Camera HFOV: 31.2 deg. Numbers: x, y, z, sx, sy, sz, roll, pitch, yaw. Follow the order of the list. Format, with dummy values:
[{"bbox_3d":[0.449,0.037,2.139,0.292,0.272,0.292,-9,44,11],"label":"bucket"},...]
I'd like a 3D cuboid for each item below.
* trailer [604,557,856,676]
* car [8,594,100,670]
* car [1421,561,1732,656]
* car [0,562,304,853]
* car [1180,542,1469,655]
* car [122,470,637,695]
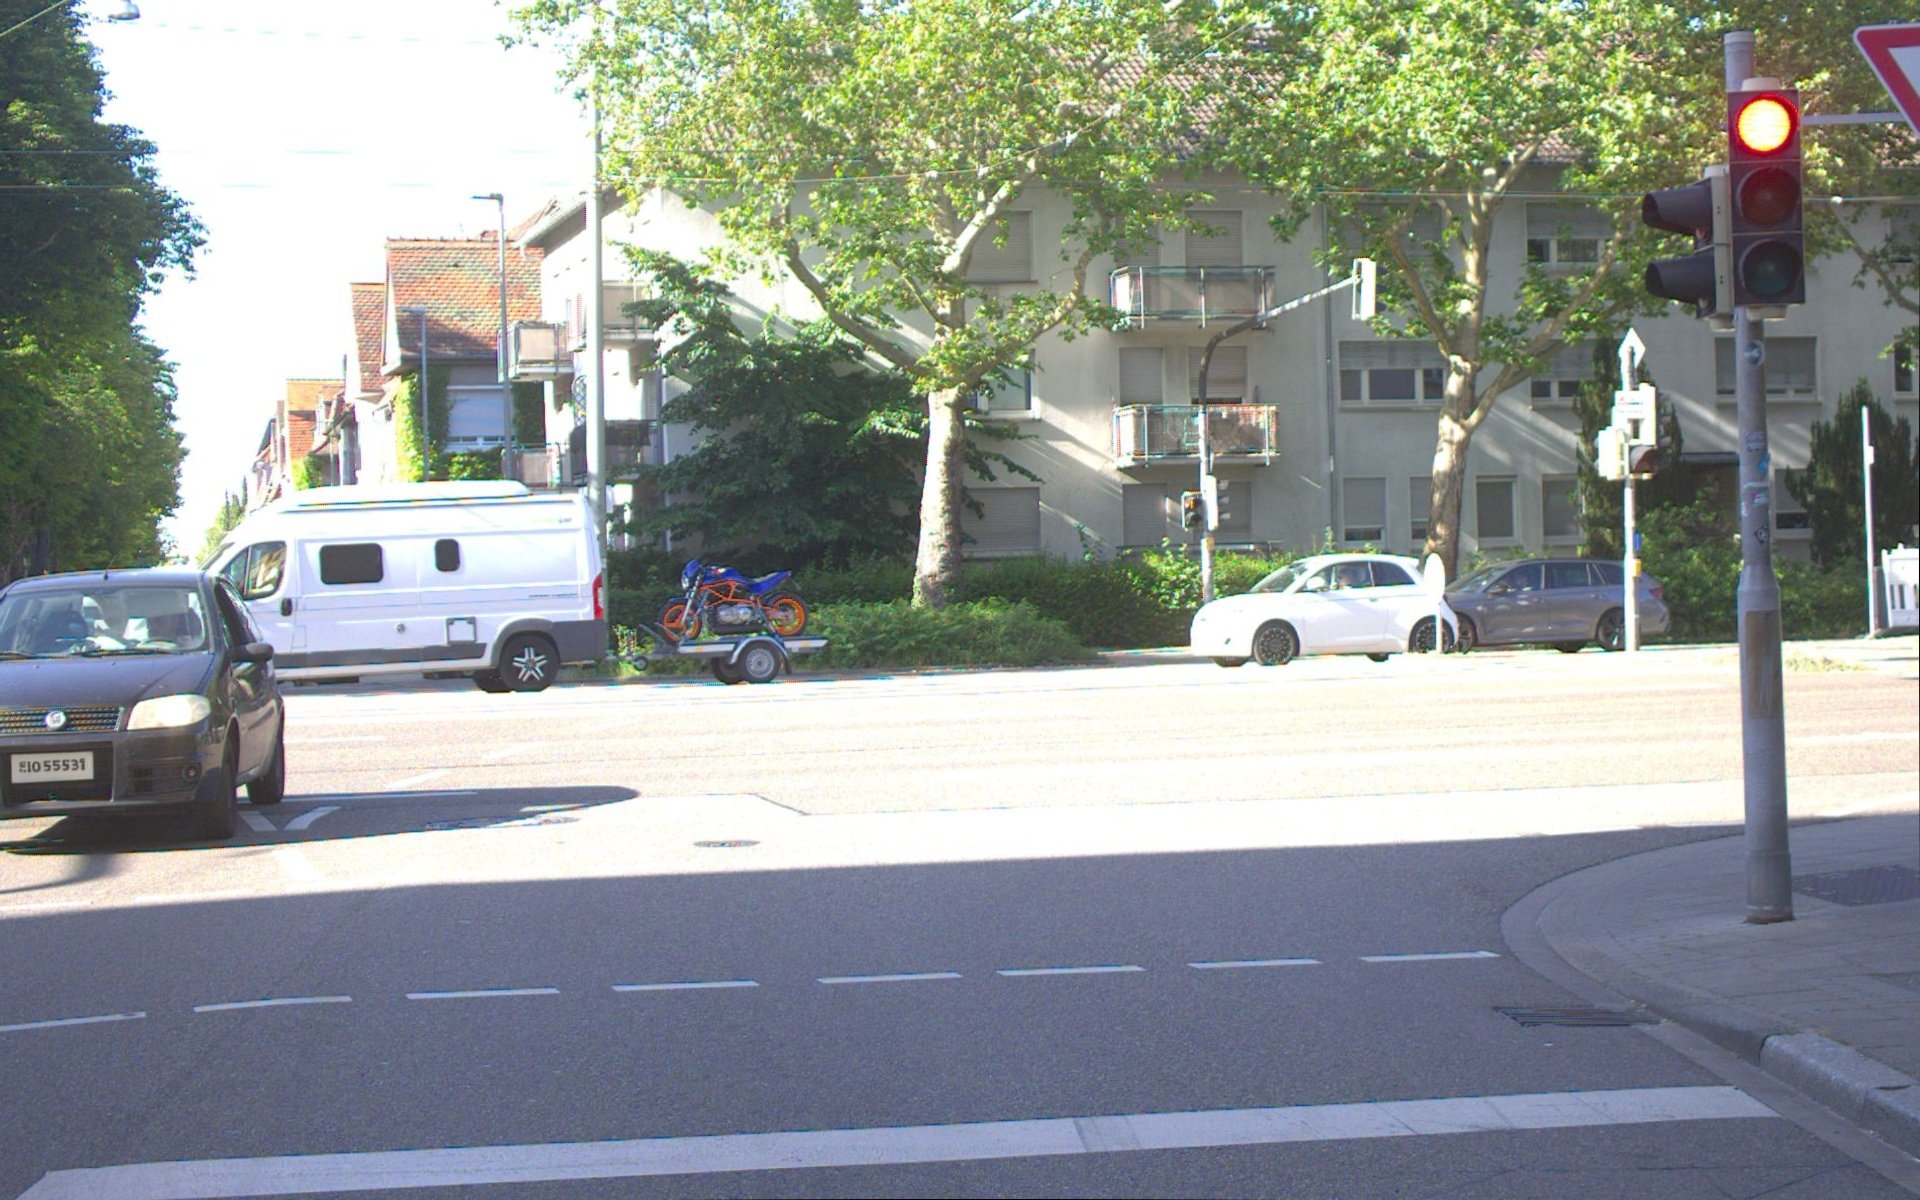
[{"bbox_3d":[-2.999,0.192,44.765,2.946,1.452,1.515,-1,1,-19],"label":"trailer"},{"bbox_3d":[-19.597,0.664,74.451,1.698,1.478,3.535,-3,1,-12],"label":"car"},{"bbox_3d":[9.348,0.110,52.141,4.385,1.312,1.646,-1,1,-20],"label":"car"},{"bbox_3d":[-4.745,0.532,19.349,1.652,1.452,3.644,-1,1,-5],"label":"car"},{"bbox_3d":[4.995,-0.036,47.130,3.630,1.452,1.503,-1,1,-20],"label":"car"},{"bbox_3d":[-7.287,-0.254,43.192,6.106,2.628,1.896,-1,1,-19],"label":"car"}]
